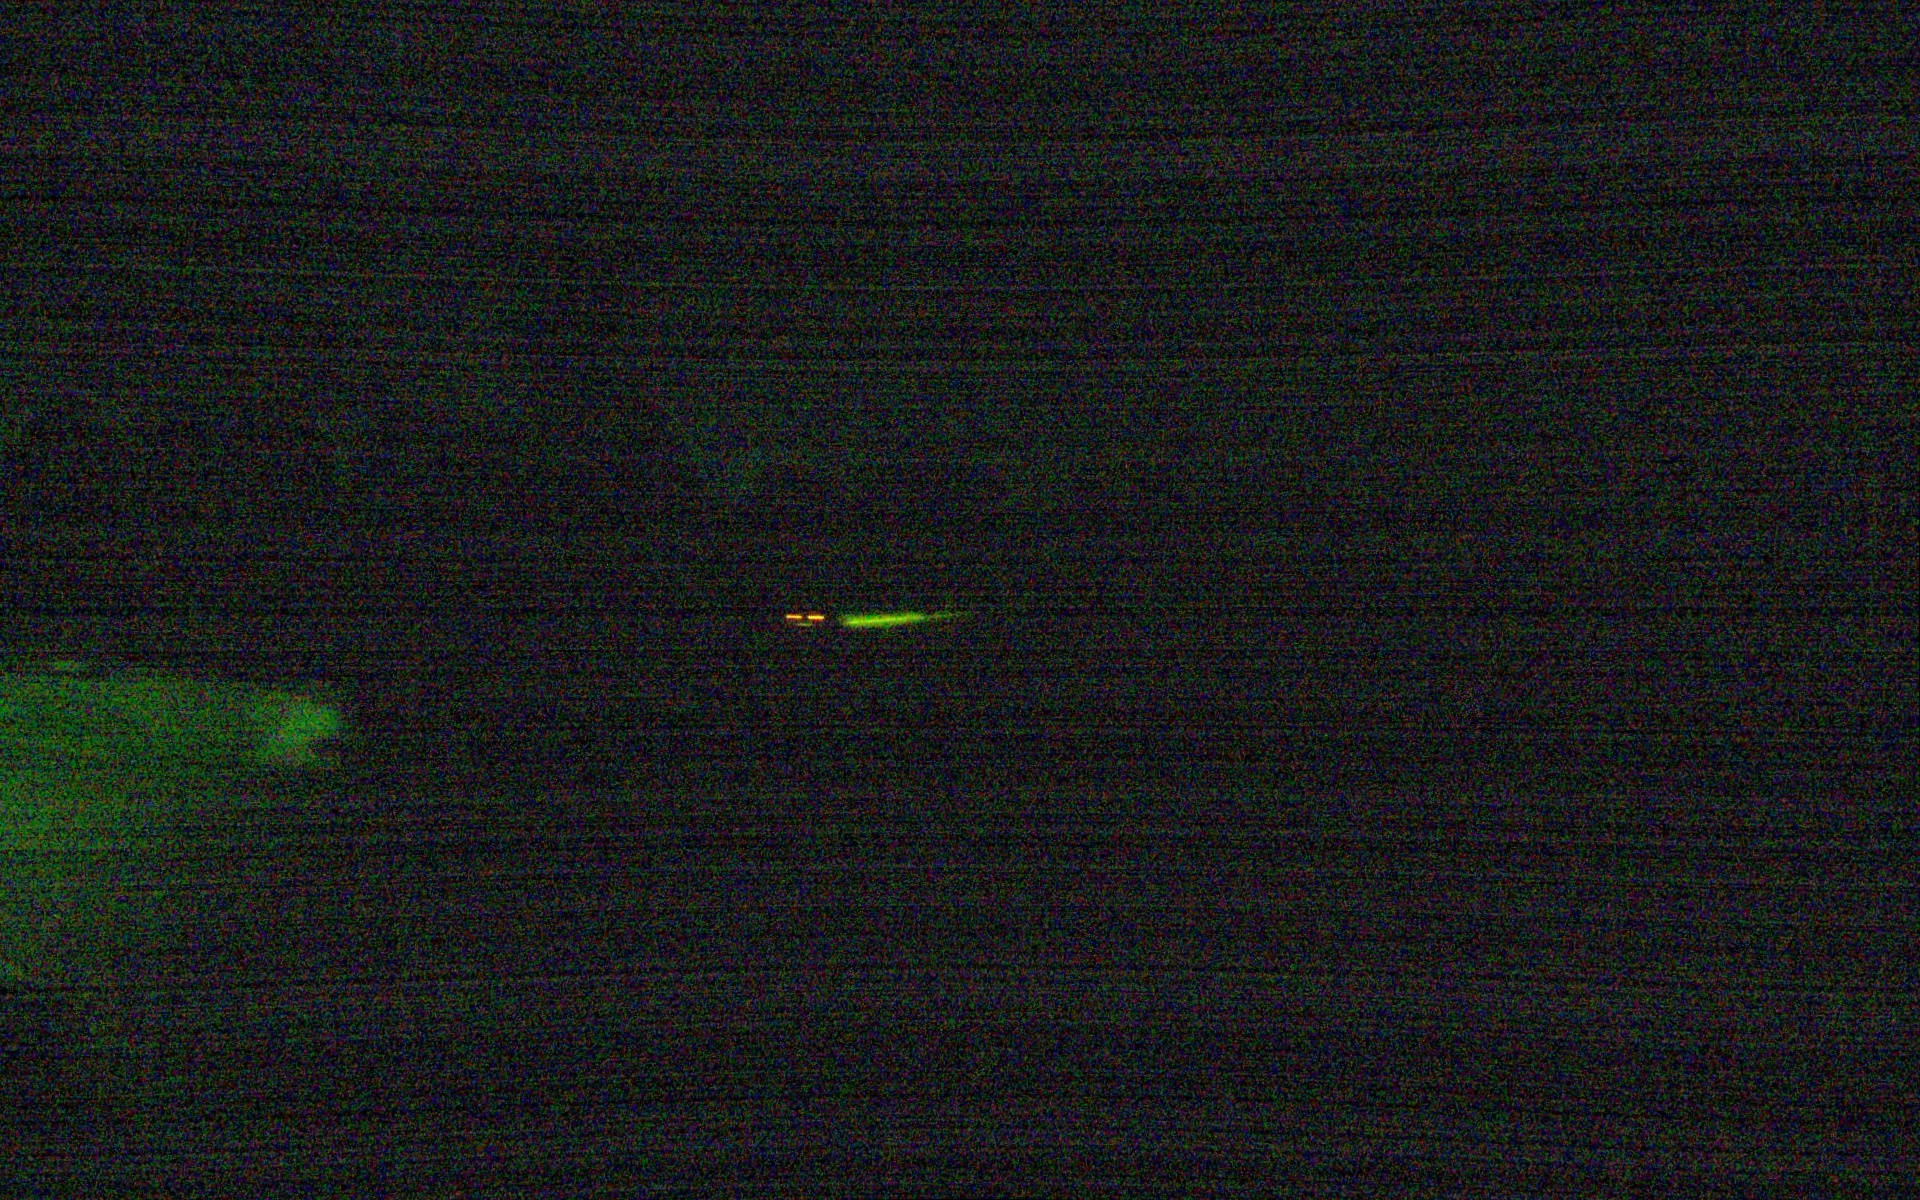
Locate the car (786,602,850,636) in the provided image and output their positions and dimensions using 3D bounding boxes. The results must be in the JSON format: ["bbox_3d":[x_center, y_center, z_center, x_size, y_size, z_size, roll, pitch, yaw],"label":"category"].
[{"bbox_3d":[-7.944,1.044,56.406,1.903,1.840,4.258,0,0,17],"label":"car"}]
